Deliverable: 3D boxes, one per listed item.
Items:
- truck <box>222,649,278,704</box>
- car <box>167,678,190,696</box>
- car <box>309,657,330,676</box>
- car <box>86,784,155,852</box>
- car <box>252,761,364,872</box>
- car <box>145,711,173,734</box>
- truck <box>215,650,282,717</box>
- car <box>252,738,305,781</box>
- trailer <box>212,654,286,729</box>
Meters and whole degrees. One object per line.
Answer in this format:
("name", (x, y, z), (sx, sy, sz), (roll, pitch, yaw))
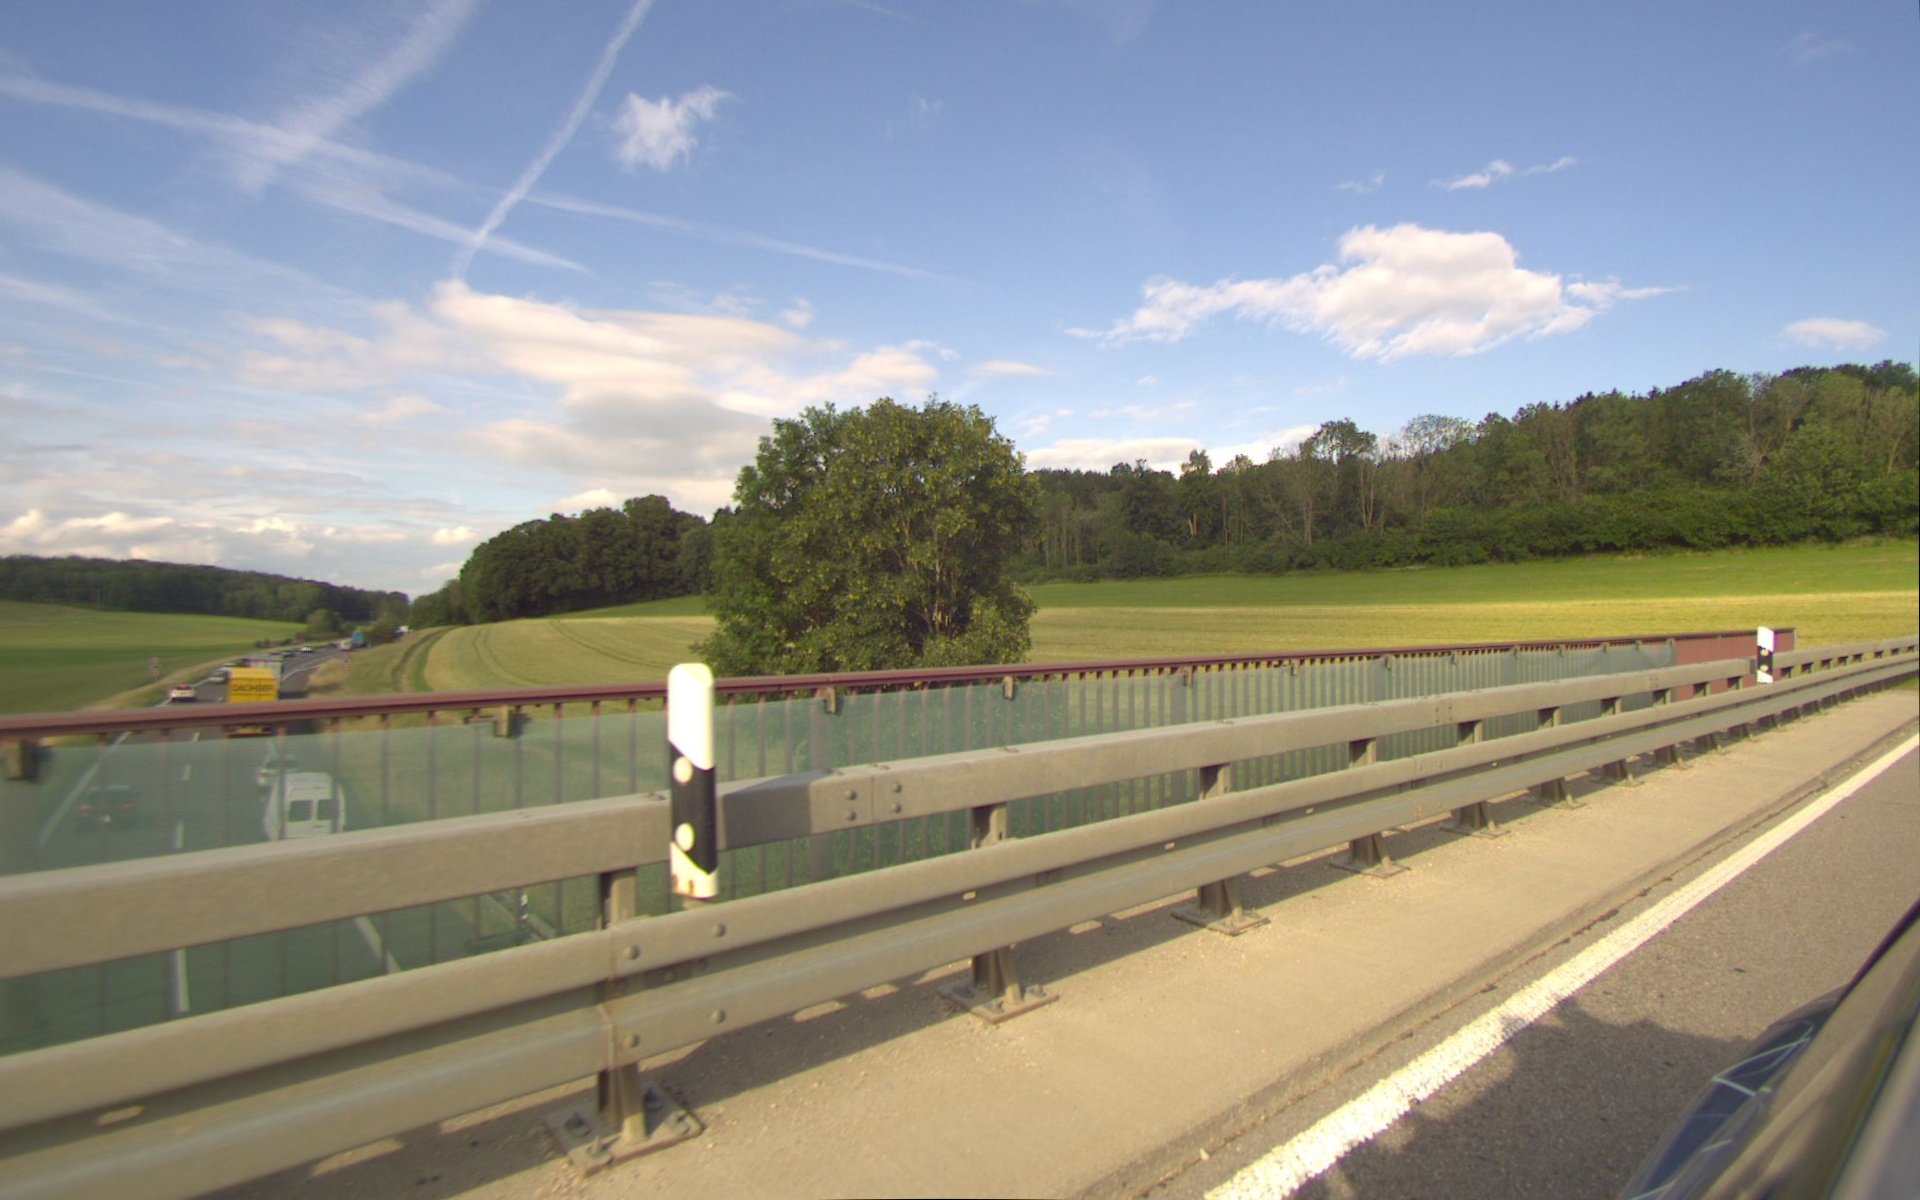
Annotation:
("truck", (-68.626, 7.186, 97.924), (4.004, 4.045, 14.422), (-4, 2, -35))
("car", (-70.583, 7.875, 91.438), (1.578, 1.412, 3.324), (1, -2, -38))
("car", (-80.187, 8.283, 126.716), (1.962, 2.038, 4.001), (-4, 2, -34))
("car", (-28.916, 7.468, 34.952), (1.652, 1.539, 3.996), (1, -2, -38))
("car", (-22.393, 7.234, 34.616), (2.330, 2.618, 6.115), (6, -4, -39))
("car", (-55.901, 8.528, 70.620), (1.352, 1.284, 3.097), (1, -2, -36))
("truck", (-53.055, 6.047, 75.390), (3.766, 4.111, 9.797), (-2, 0, -36))
("car", (-31.835, 7.400, 47.231), (1.770, 1.488, 3.997), (3, -3, -37))
("trailer", (-47.602, 5.944, 67.782), (3.766, 4.111, 9.126), (-2, 0, -35))
